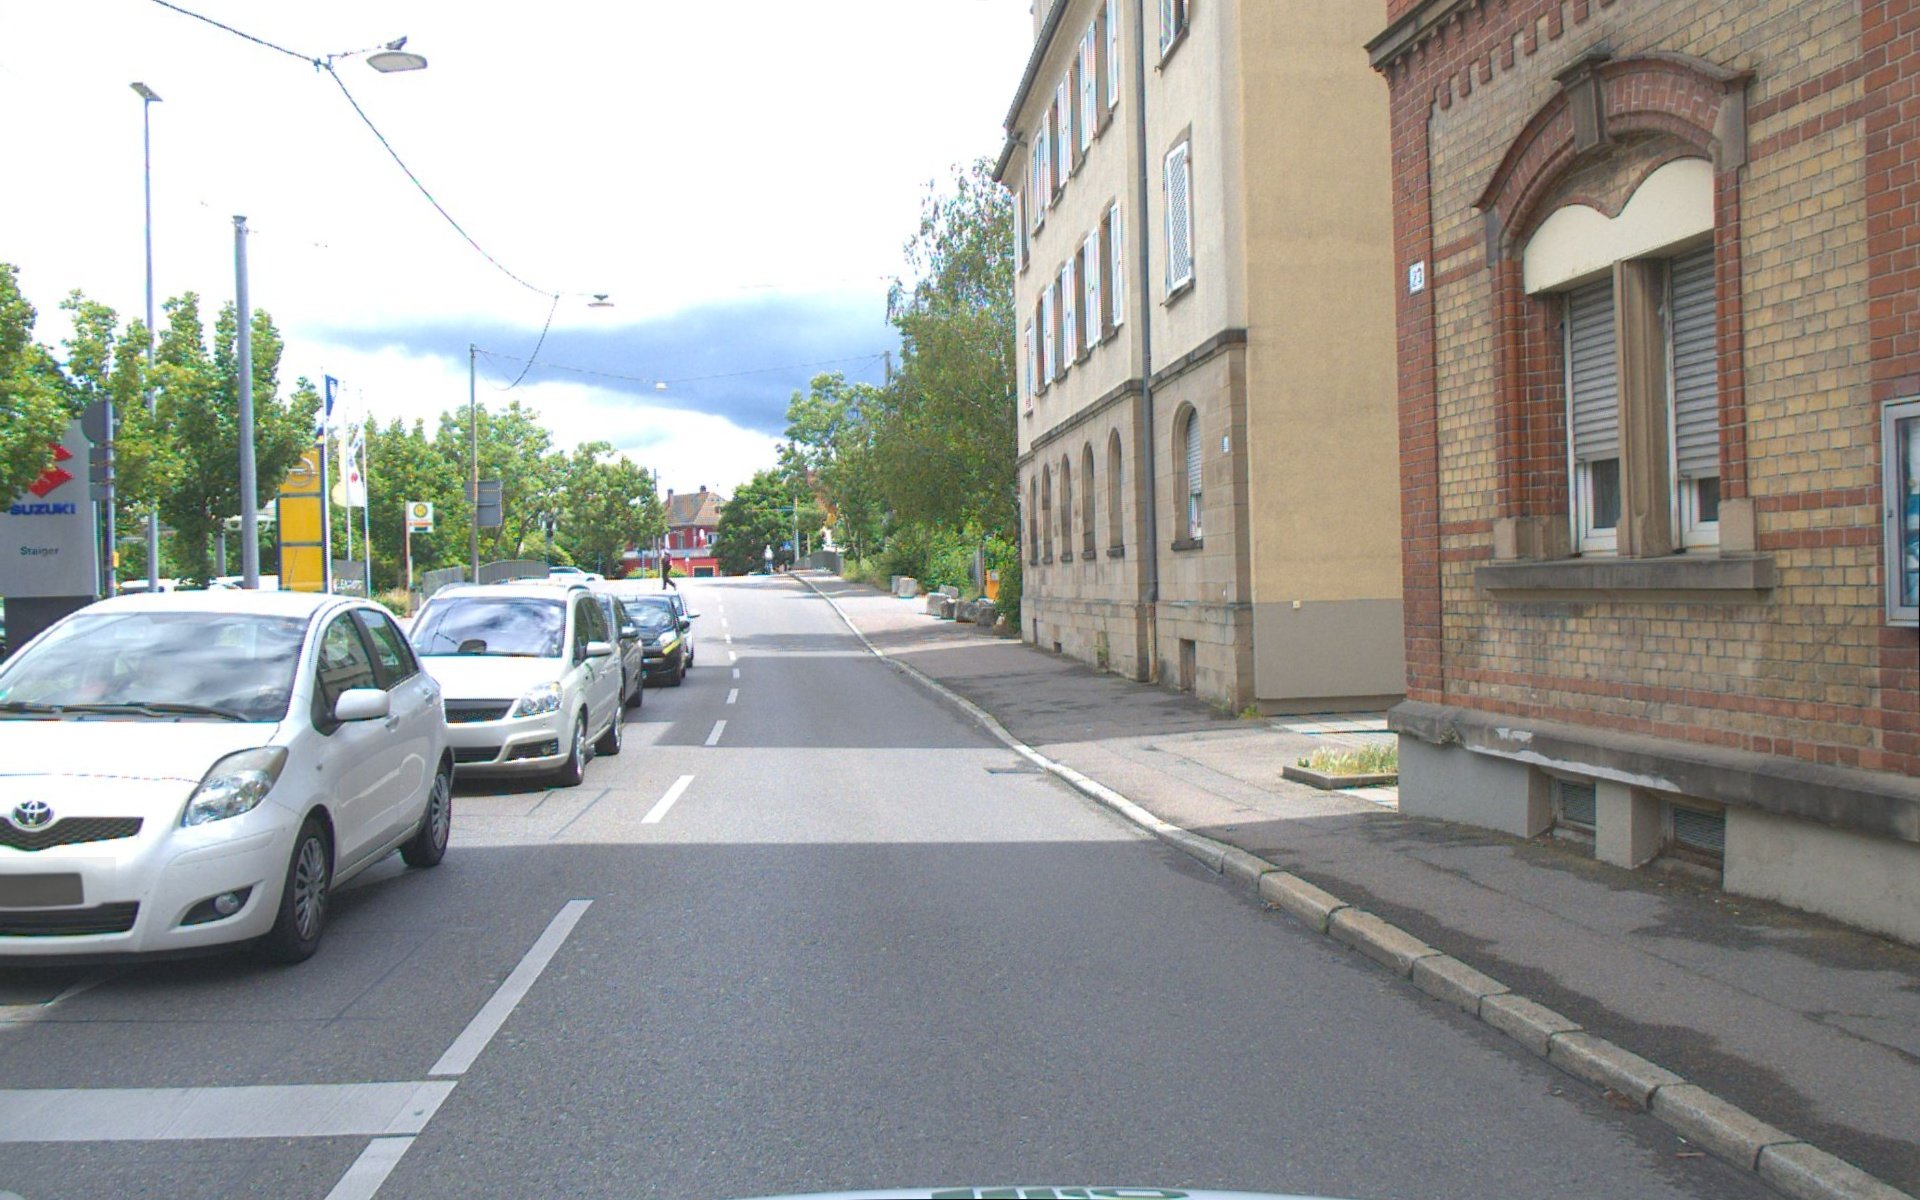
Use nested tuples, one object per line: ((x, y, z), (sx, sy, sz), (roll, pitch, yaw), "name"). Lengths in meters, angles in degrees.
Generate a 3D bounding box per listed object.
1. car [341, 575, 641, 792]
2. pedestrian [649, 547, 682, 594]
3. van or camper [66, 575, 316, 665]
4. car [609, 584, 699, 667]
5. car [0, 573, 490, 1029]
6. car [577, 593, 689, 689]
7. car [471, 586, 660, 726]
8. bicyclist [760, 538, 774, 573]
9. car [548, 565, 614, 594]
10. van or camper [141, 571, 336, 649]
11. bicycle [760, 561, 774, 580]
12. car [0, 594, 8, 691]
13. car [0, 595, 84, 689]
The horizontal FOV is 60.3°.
((-3.914, 0.632, 14.518), (1.685, 1.609, 4.314), (0, 0, -4), "car")
((-11.814, -1.202, 66.311), (1.011, 1.869, 1.000), (0, 2, 10), "pedestrian")
((-17.153, 0.417, 37.077), (4.576, 1.780, 1.999), (-2, 1, -4), "van or camper")
((-6.266, 0.508, 34.195), (1.687, 1.609, 3.992), (0, 0, -9), "car")
((-3.516, 0.713, 7.836), (1.685, 1.609, 3.996), (0, 0, -4), "car")
((-5.452, 0.655, 27.903), (1.687, 1.510, 3.316), (0, 0, -9), "car")
((-4.922, 0.653, 21.169), (1.685, 1.609, 4.247), (0, 0, -4), "car")
((-10.864, -2.492, 93.106), (0.671, 1.858, 1.079), (-1, -4, -4), "bicyclist")
((-26.109, -1.413, 113.907), (4.346, 1.863, 1.991), (2, -1, -16), "car")
((-20.095, 0.233, 46.321), (1.944, 1.997, 4.957), (0, 2, 24), "van or camper")
((-10.839, -1.664, 93.100), (0.674, 0.894, 2.100), (-1, -3, -4), "bicycle")
((-16.910, 0.758, 25.171), (3.745, 1.523, 1.808), (-2, 2, -11), "car")
((-17.097, 0.748, 27.790), (3.764, 1.486, 1.769), (-2, 2, -10), "car")
